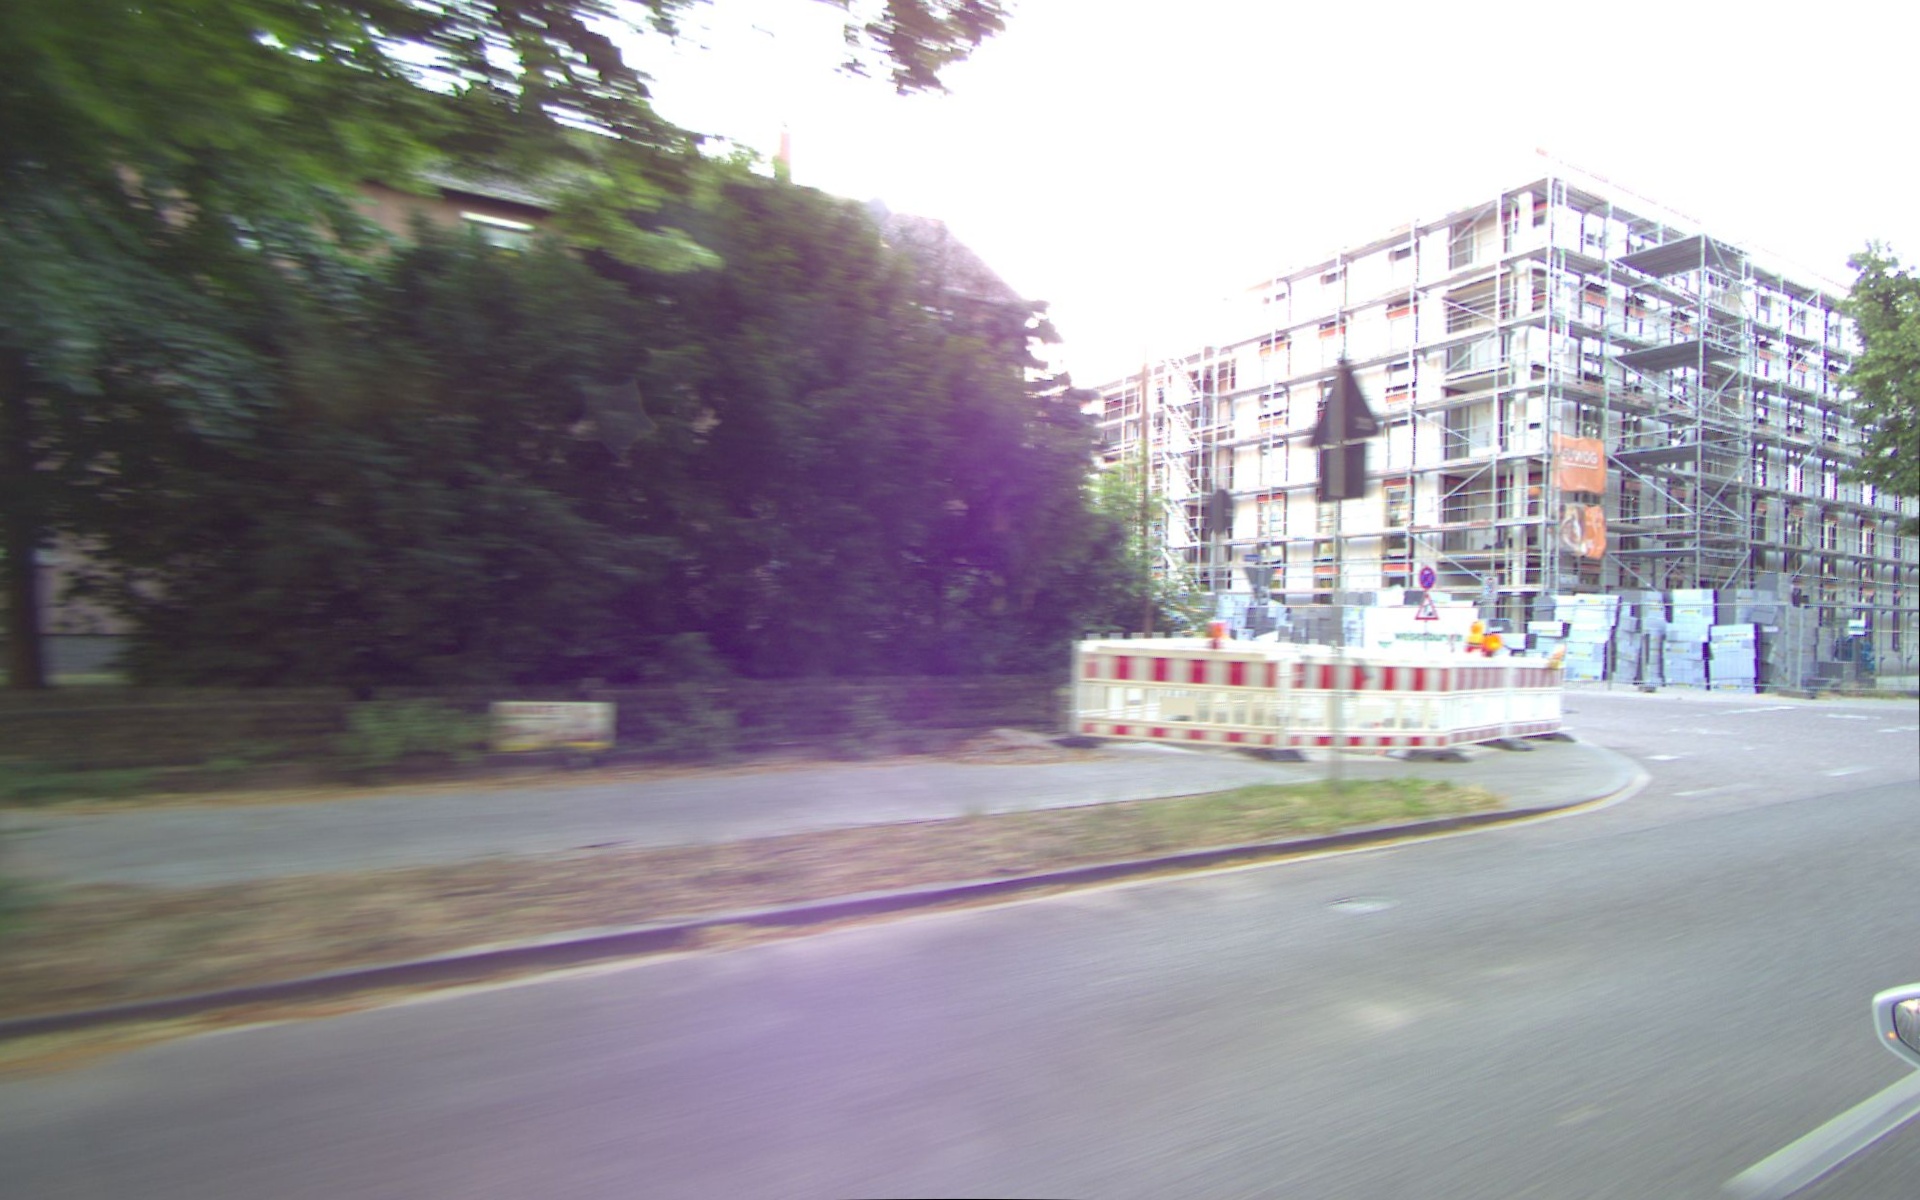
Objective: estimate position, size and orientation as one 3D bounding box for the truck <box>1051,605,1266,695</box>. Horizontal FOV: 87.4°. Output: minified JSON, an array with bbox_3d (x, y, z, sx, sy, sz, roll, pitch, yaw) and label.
[{"bbox_3d":[4.667,1.179,24.671,2.017,1.938,5.617,3,-2,-29],"label":"truck"}]
